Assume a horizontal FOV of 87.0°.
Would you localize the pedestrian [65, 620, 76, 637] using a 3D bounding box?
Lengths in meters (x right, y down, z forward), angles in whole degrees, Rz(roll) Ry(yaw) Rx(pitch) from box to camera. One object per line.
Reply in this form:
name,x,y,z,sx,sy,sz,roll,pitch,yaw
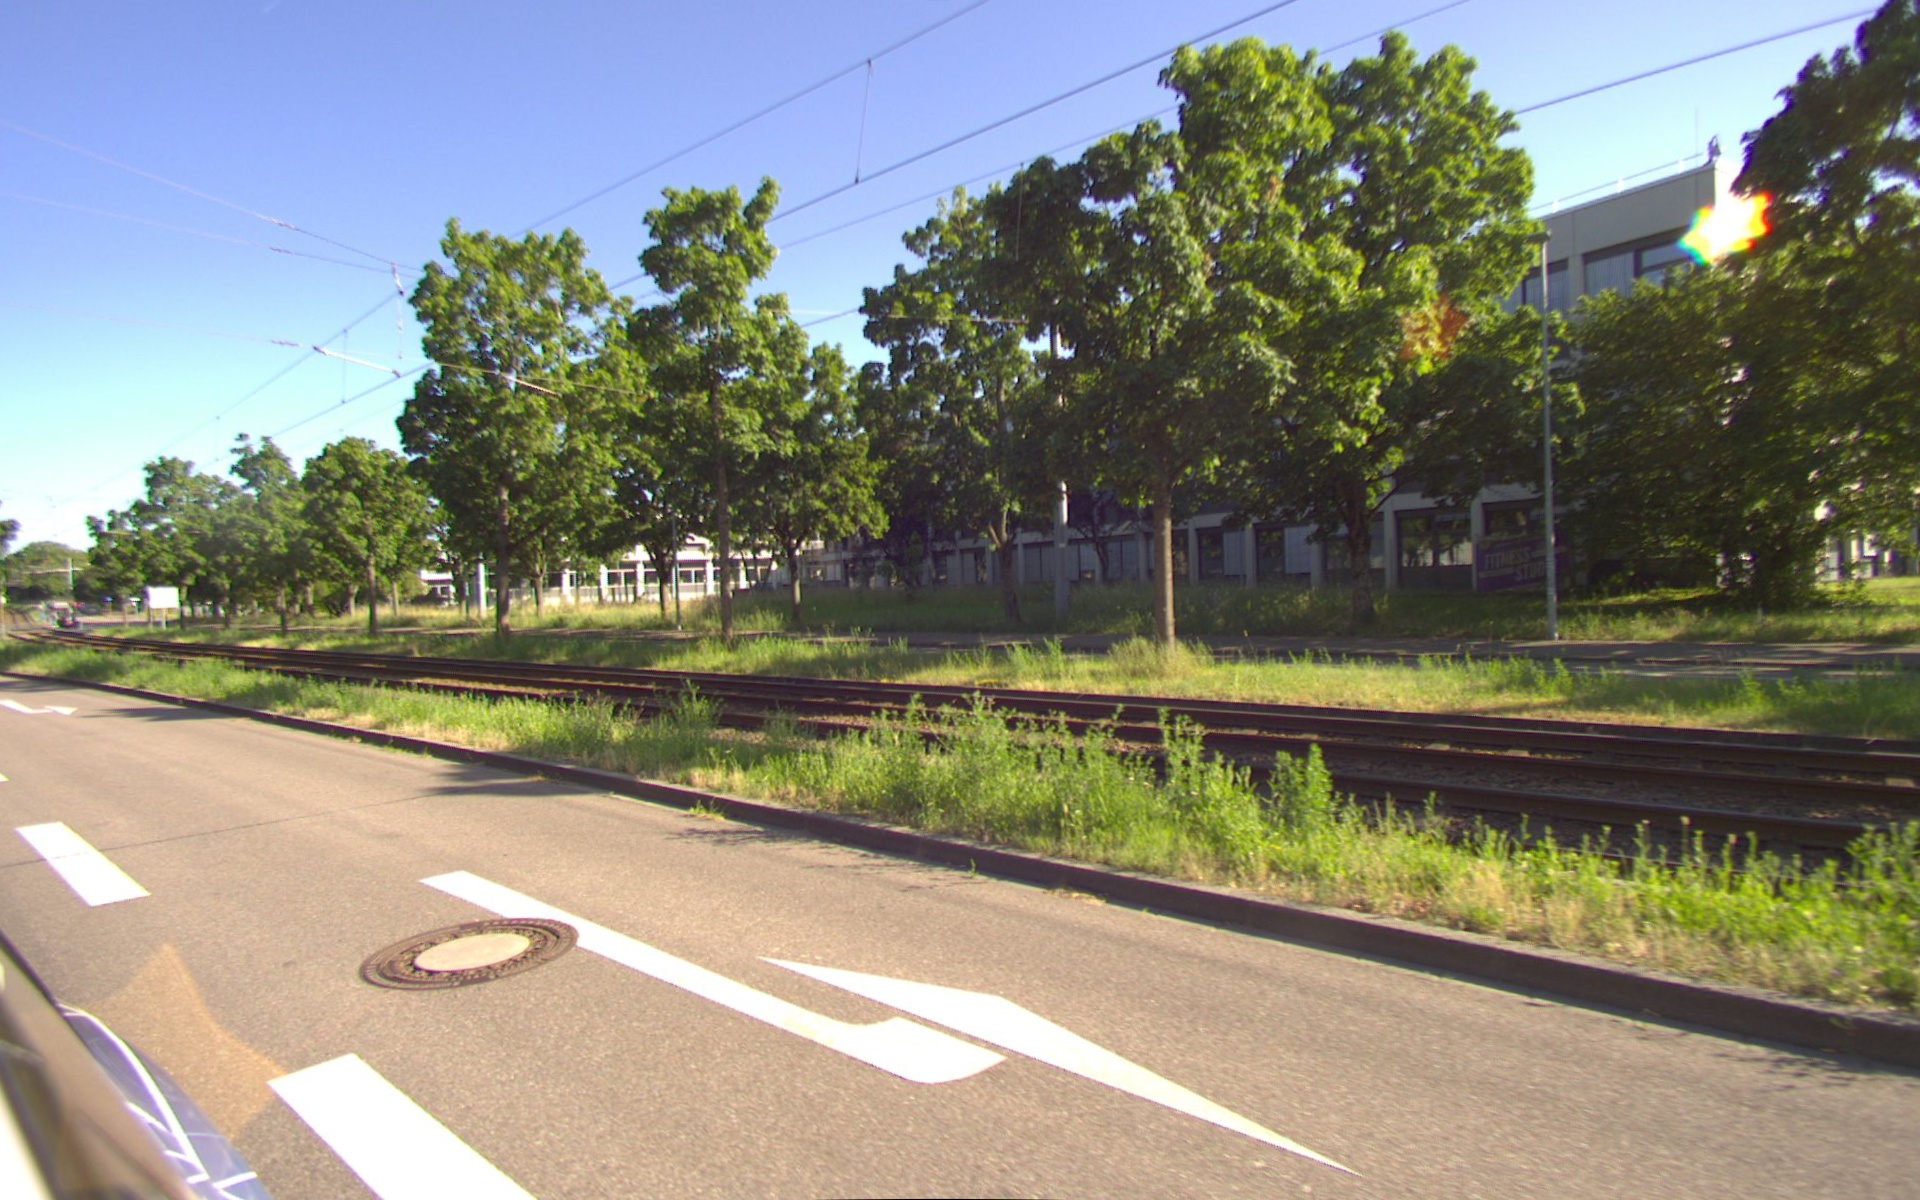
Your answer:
pedestrian,-93.909,2.996,106.854,0.782,1.764,0.775,-1,1,44
